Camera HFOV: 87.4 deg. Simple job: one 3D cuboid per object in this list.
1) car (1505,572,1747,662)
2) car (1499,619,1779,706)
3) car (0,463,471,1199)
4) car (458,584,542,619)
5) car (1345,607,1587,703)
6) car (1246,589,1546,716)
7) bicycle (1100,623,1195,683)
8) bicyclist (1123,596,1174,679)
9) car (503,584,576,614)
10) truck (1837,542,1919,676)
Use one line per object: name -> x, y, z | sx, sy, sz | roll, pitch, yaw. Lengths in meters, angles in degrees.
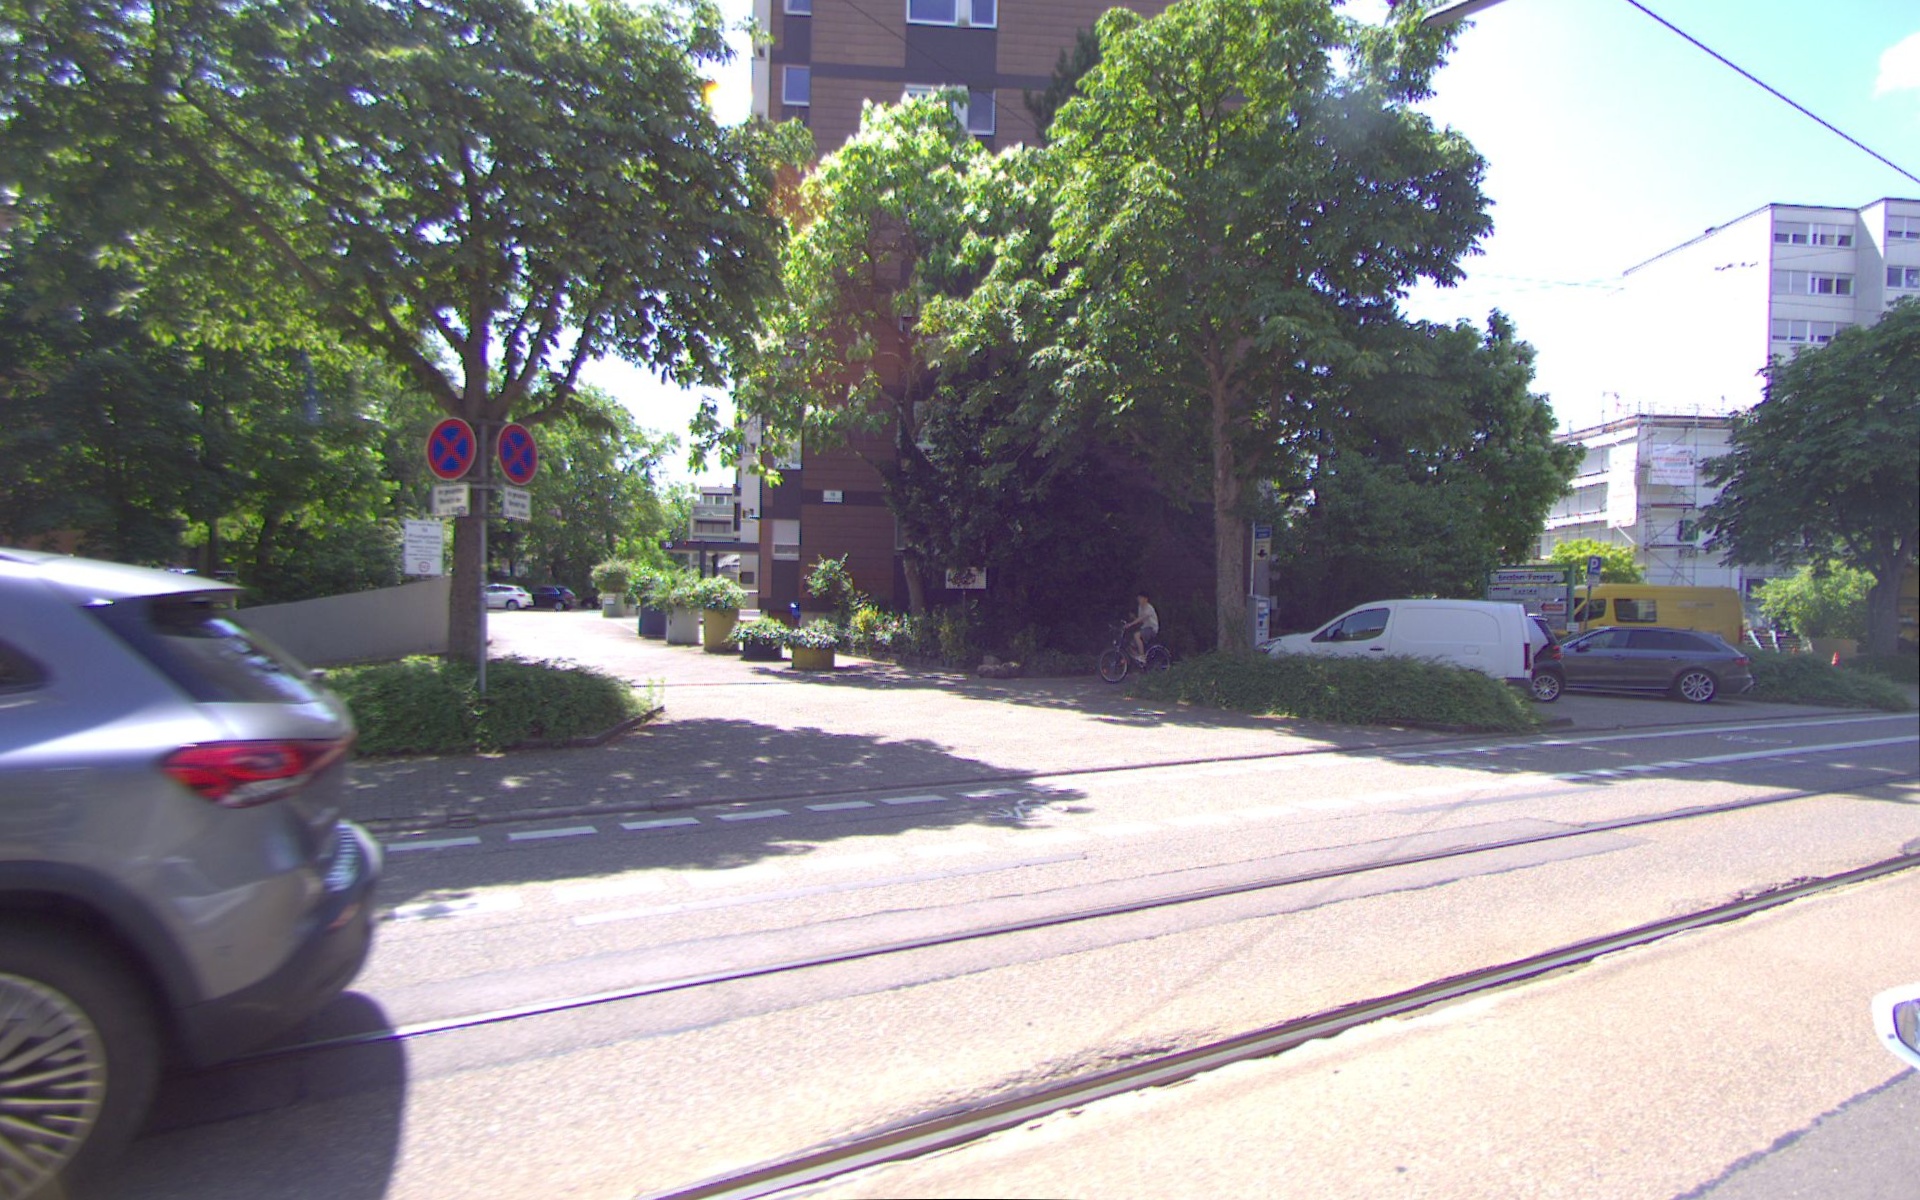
car -> 22.263, 0.557, 33.775 | 6.592, 2.599, 2.185 | 3, 0, 0
car -> 13.517, 1.198, 20.345 | 4.361, 1.413, 1.772 | 2, 1, 22
car -> -3.526, 0.532, 2.380 | 4.135, 1.703, 1.822 | 1, -1, -30
car -> -25.651, 0.054, 56.133 | 3.932, 1.807, 1.994 | 2, 1, -14
car -> 9.545, 0.990, 19.296 | 3.872, 1.553, 1.772 | 2, 1, 19
car -> 7.434, 0.795, 17.308 | 4.465, 1.815, 1.898 | 2, 1, 28
bicycle -> 3.494, 0.971, 18.676 | 1.856, 1.061, 0.515 | 1, 1, -33
bicyclist -> 3.498, 0.688, 18.664 | 0.772, 1.501, 0.478 | 1, 1, -32
car -> -26.553, -0.068, 63.586 | 3.932, 1.807, 1.994 | 2, 1, -14
truck -> 32.855, 0.453, 31.379 | 10.785, 3.893, 2.715 | 2, 1, -16
